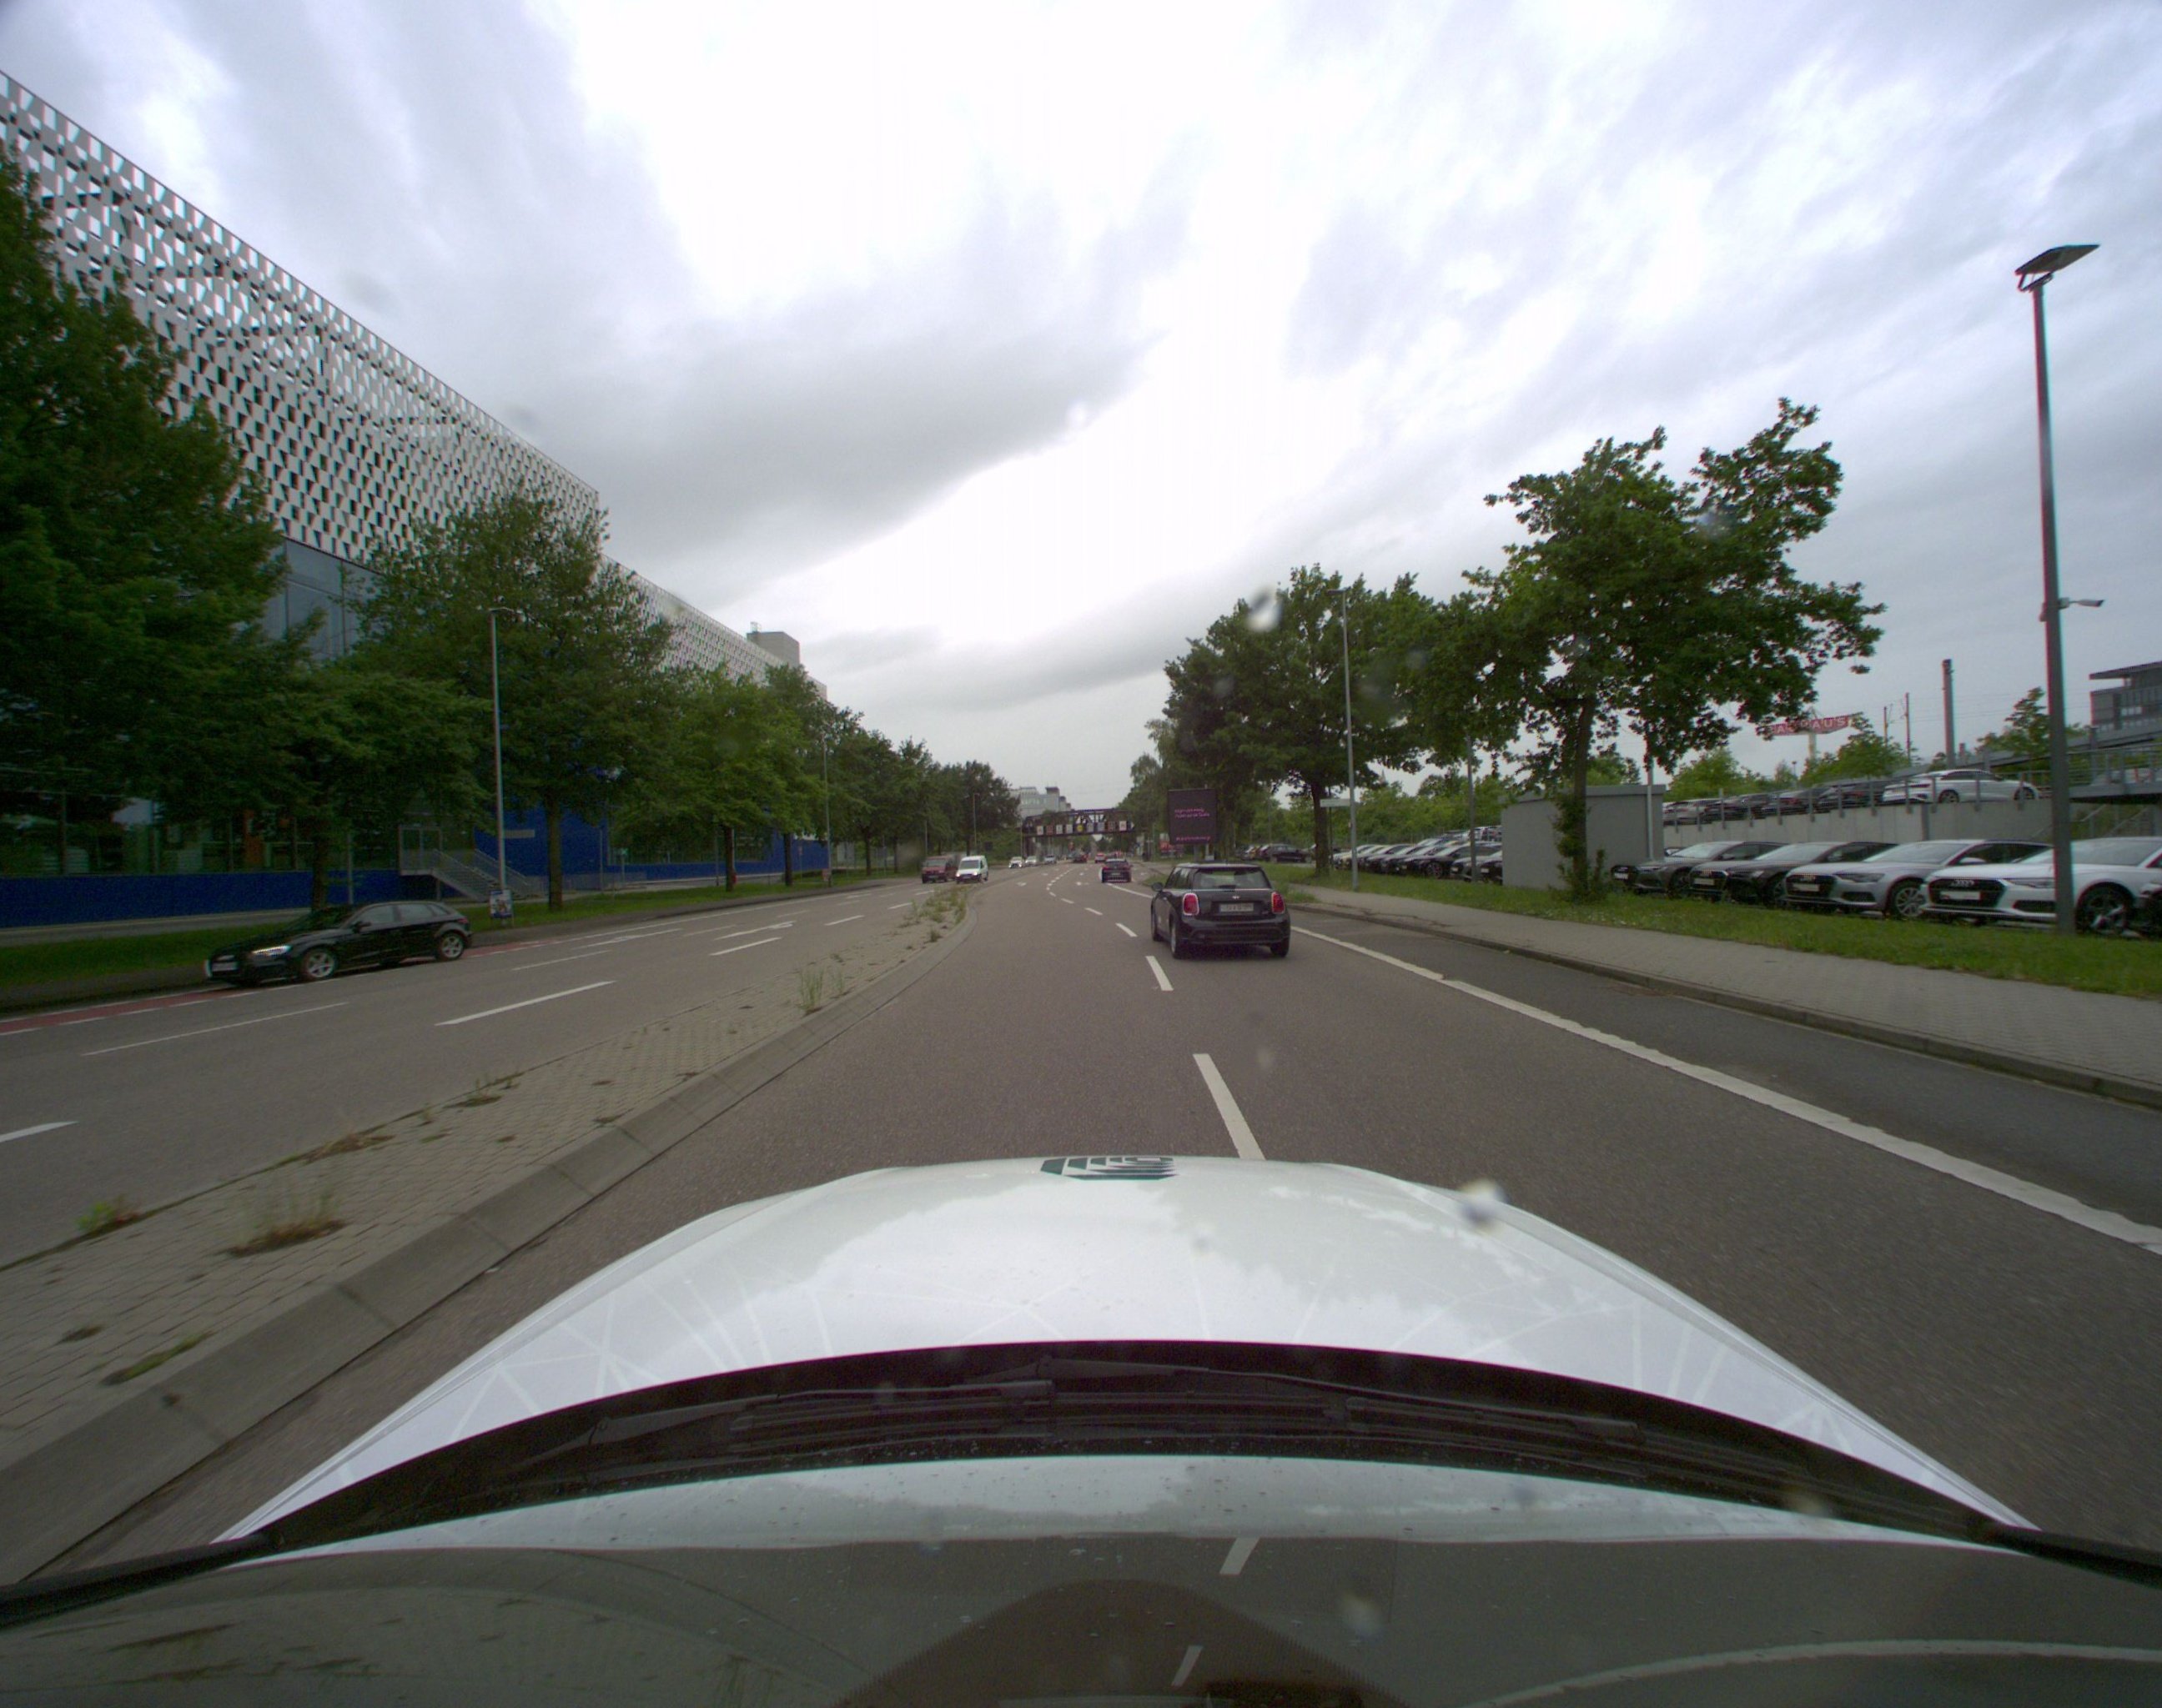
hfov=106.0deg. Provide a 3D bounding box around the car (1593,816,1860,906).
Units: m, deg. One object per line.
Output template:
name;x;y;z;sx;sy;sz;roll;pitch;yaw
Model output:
car;15.001;0.106;19.166;4.531;1.701;2.002;4;2;3

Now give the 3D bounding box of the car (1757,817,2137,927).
car;14.788;0.270;14.155;4.276;1.504;2.031;3;1;3

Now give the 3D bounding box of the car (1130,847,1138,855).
car;12.533;-0.680;192.227;1.941;1.815;4.006;-1;2;4

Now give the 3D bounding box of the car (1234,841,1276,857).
car;17.003;-0.469;79.694;3.964;1.435;1.735;-1;2;8

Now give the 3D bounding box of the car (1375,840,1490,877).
car;15.692;0.194;36.500;4.327;1.503;1.930;1;0;1

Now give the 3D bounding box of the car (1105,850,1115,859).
car;6.027;0.088;168.350;1.941;1.815;4.006;-1;2;4

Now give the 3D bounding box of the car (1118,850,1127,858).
car;9.770;-0.040;191.961;1.941;1.815;4.006;-1;2;4

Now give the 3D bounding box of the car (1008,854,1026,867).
car;-8.150;0.809;104.016;1.746;1.446;3.344;-1;2;4

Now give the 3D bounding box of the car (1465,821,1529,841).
car;32.339;-1.802;63.382;4.071;1.435;1.731;-1;2;0

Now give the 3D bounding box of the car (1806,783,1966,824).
car;31.813;-1.981;32.280;4.320;1.496;2.070;-1;2;0

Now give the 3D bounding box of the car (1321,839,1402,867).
car;15.871;-0.057;46.213;4.071;1.435;1.731;-1;2;0

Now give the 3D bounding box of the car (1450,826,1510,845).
car;32.230;-1.537;65.852;4.071;1.435;1.731;-1;2;0

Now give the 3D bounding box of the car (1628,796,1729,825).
car;31.407;-2.291;42.851;4.071;1.435;1.731;-1;2;0

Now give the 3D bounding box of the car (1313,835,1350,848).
car;29.286;-1.497;95.265;3.964;1.435;1.735;-1;2;8

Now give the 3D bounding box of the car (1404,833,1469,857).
car;26.203;-0.690;60.066;4.071;1.620;1.731;-1;2;0

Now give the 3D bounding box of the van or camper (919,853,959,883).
van or camper;-10.472;1.015;60.556;1.868;1.986;4.892;-3;1;2

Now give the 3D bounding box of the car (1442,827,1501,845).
car;32.519;-1.530;67.877;4.071;1.435;1.731;-1;2;0

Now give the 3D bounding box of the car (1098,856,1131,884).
car;2.093;0.941;49.793;1.748;1.434;4.006;-2;1;5

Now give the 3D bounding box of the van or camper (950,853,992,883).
van or camper;-7.269;0.881;54.234;1.747;1.747;4.412;-5;1;4

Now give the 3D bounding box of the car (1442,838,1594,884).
car;15.319;0.233;28.748;4.275;1.392;2.002;2;0;3

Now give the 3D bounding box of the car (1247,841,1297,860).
car;15.925;-0.311;68.122;3.964;1.435;1.735;-1;2;8

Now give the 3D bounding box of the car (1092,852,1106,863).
car;3.118;0.541;138.119;2.125;1.661;3.787;-1;2;4

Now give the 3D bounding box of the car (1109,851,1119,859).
car;7.255;0.170;179.220;1.875;1.661;3.787;-1;2;5

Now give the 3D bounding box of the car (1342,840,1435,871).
car;15.621;0.040;41.492;4.071;1.435;1.823;-1;2;0

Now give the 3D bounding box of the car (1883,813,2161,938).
car;14.673;0.329;11.581;4.376;1.520;2.002;4;2;2

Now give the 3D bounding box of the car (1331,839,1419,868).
car;15.803;-0.058;43.895;4.071;1.435;1.847;-1;2;0

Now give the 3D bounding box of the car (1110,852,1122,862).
car;6.258;0.477;144.690;1.875;1.661;3.787;-1;2;5

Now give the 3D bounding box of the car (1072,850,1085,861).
car;-0.374;0.286;140.137;1.875;1.661;3.787;-1;2;5

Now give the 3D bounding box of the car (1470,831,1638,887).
car;15.146;0.146;26.281;4.242;1.565;2.002;2;0;3

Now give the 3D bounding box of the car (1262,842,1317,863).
car;15.991;-0.122;62.614;3.964;1.435;1.735;-1;2;8

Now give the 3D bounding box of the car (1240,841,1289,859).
car;15.840;-0.320;70.484;3.964;1.435;1.735;-1;2;8

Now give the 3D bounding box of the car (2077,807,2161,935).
car;14.405;0.340;8.976;4.158;1.468;2.002;4;2;3

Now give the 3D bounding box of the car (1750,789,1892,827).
car;31.702;-1.956;34.979;4.320;1.496;1.971;-1;2;0

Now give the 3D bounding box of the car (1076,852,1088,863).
car;0.195;0.657;146.982;1.941;1.815;4.006;-1;2;4

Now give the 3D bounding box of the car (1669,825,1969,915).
car;14.815;0.271;16.568;4.158;1.445;1.962;4;2;3

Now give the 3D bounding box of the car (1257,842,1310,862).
car;16.157;-0.160;65.084;3.964;1.435;1.735;-1;2;8

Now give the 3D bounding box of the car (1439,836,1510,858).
car;27.147;-0.480;56.293;4.071;1.435;1.731;-1;2;0

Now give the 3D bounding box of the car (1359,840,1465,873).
car;15.754;0.123;38.867;4.327;1.488;1.844;-1;0;1

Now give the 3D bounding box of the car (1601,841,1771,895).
car;16.773;0.341;22.872;1.911;1.332;4.003;-2;0;3

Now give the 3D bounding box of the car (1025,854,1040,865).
car;-7.068;0.809;119.499;1.711;1.371;3.445;-1;2;5

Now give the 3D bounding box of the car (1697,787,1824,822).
car;31.275;-2.271;37.574;4.320;1.496;1.882;-1;2;0

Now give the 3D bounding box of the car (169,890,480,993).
car;-14.907;1.646;16.458;1.907;1.502;4.262;-4;-1;9

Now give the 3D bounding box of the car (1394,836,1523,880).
car;15.667;0.140;33.964;4.429;1.571;2.001;-3;0;1

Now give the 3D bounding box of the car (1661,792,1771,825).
car;31.286;-2.239;40.212;4.071;1.496;1.731;-1;2;0

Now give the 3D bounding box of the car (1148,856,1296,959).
car;2.109;0.755;13.113;1.780;1.416;3.643;0;-1;0

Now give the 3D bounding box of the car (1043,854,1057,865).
car;-5.240;0.928;139.269;1.931;1.675;3.787;-1;2;4

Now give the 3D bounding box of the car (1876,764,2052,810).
car;31.850;-2.412;29.473;4.320;1.496;1.882;-1;2;0
